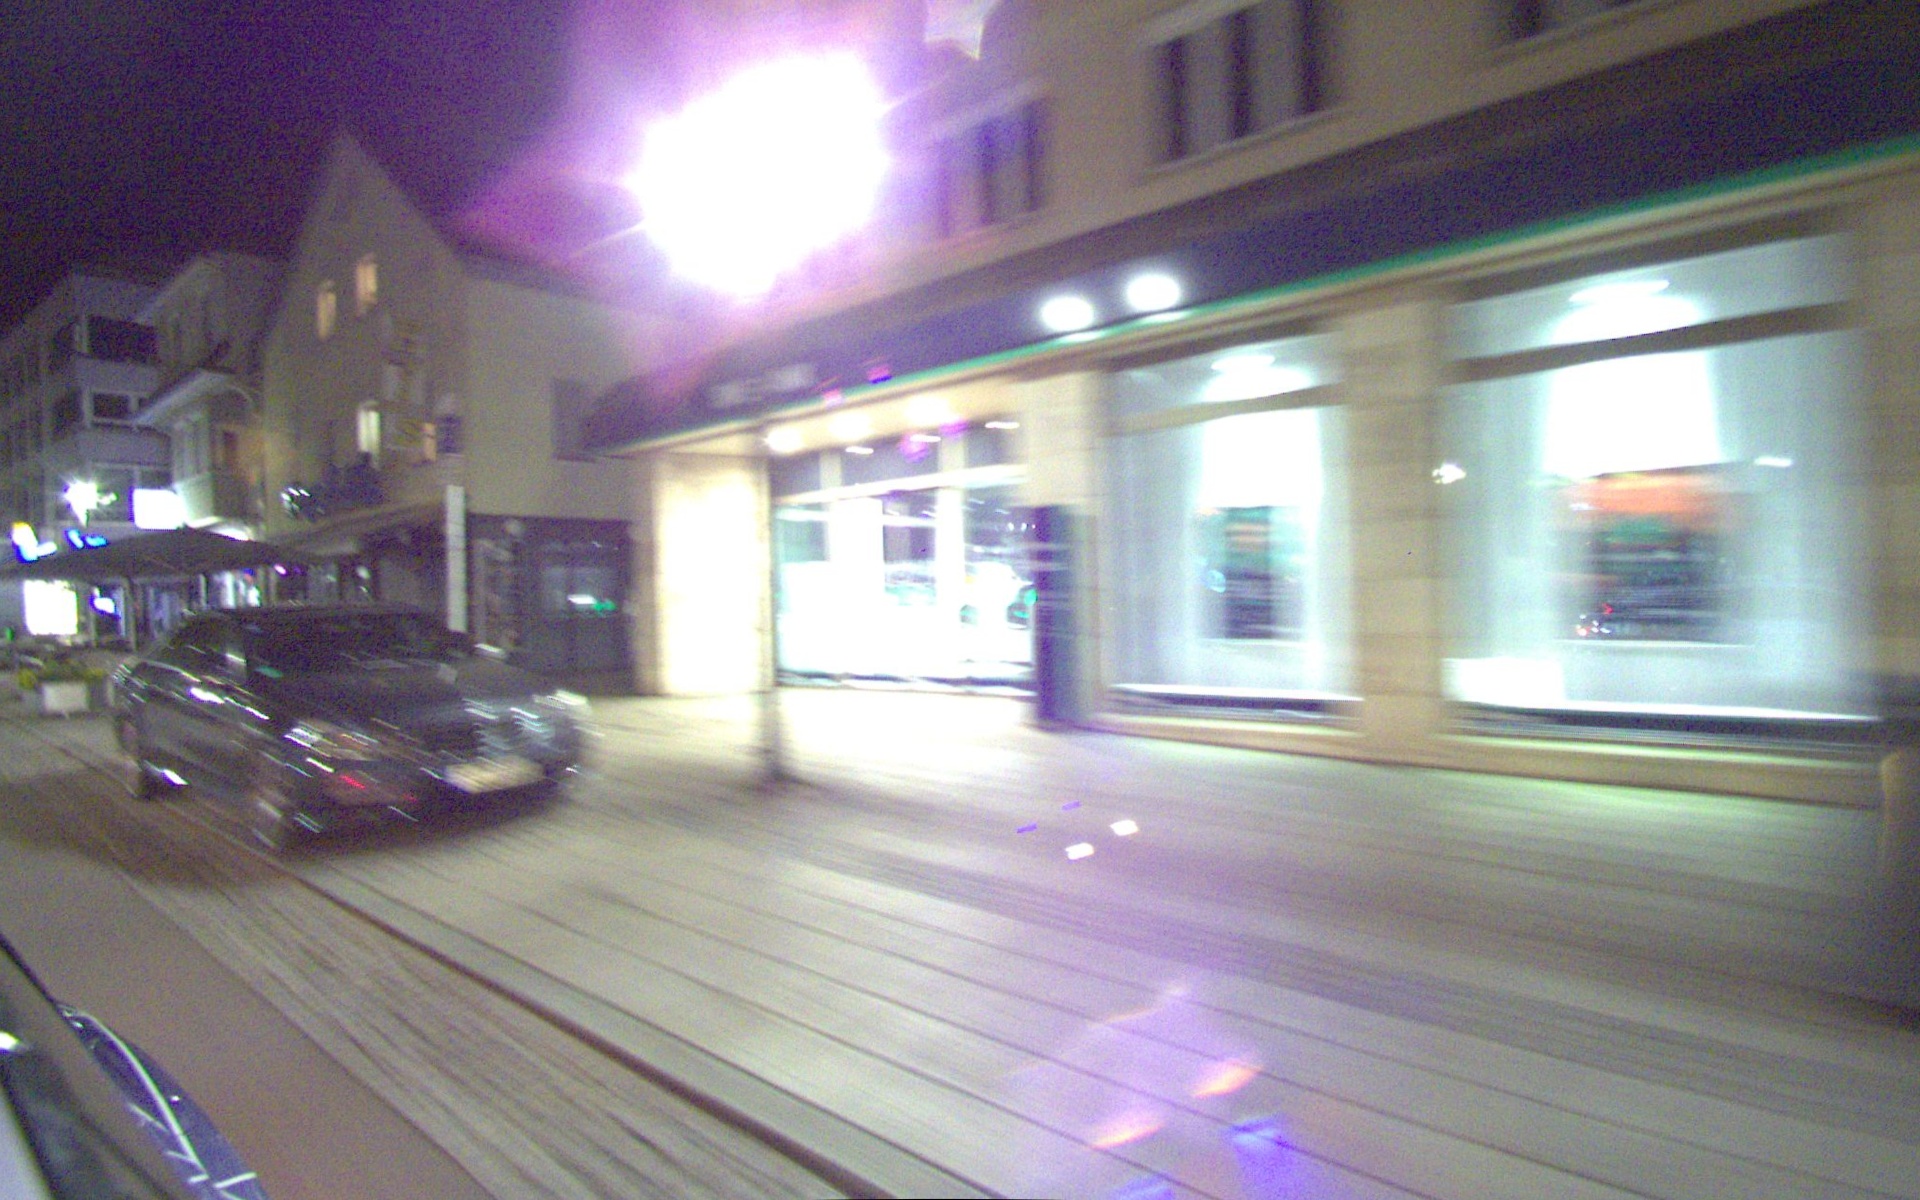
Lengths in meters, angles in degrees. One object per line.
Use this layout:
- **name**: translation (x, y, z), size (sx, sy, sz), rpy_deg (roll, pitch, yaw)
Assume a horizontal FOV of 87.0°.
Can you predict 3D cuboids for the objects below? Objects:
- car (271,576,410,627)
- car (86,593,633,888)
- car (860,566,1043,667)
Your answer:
- **car**: translation (-20.807, 0.022, 34.088), size (1.795, 1.532, 3.568), rpy_deg (-4, -1, 36)
- **car**: translation (-4.508, 0.756, 7.299), size (4.519, 1.481, 1.882), rpy_deg (-2, 0, 38)
- **car**: translation (-0.110, 0.295, 20.158), size (1.770, 1.794, 3.390), rpy_deg (-4, -1, 41)
